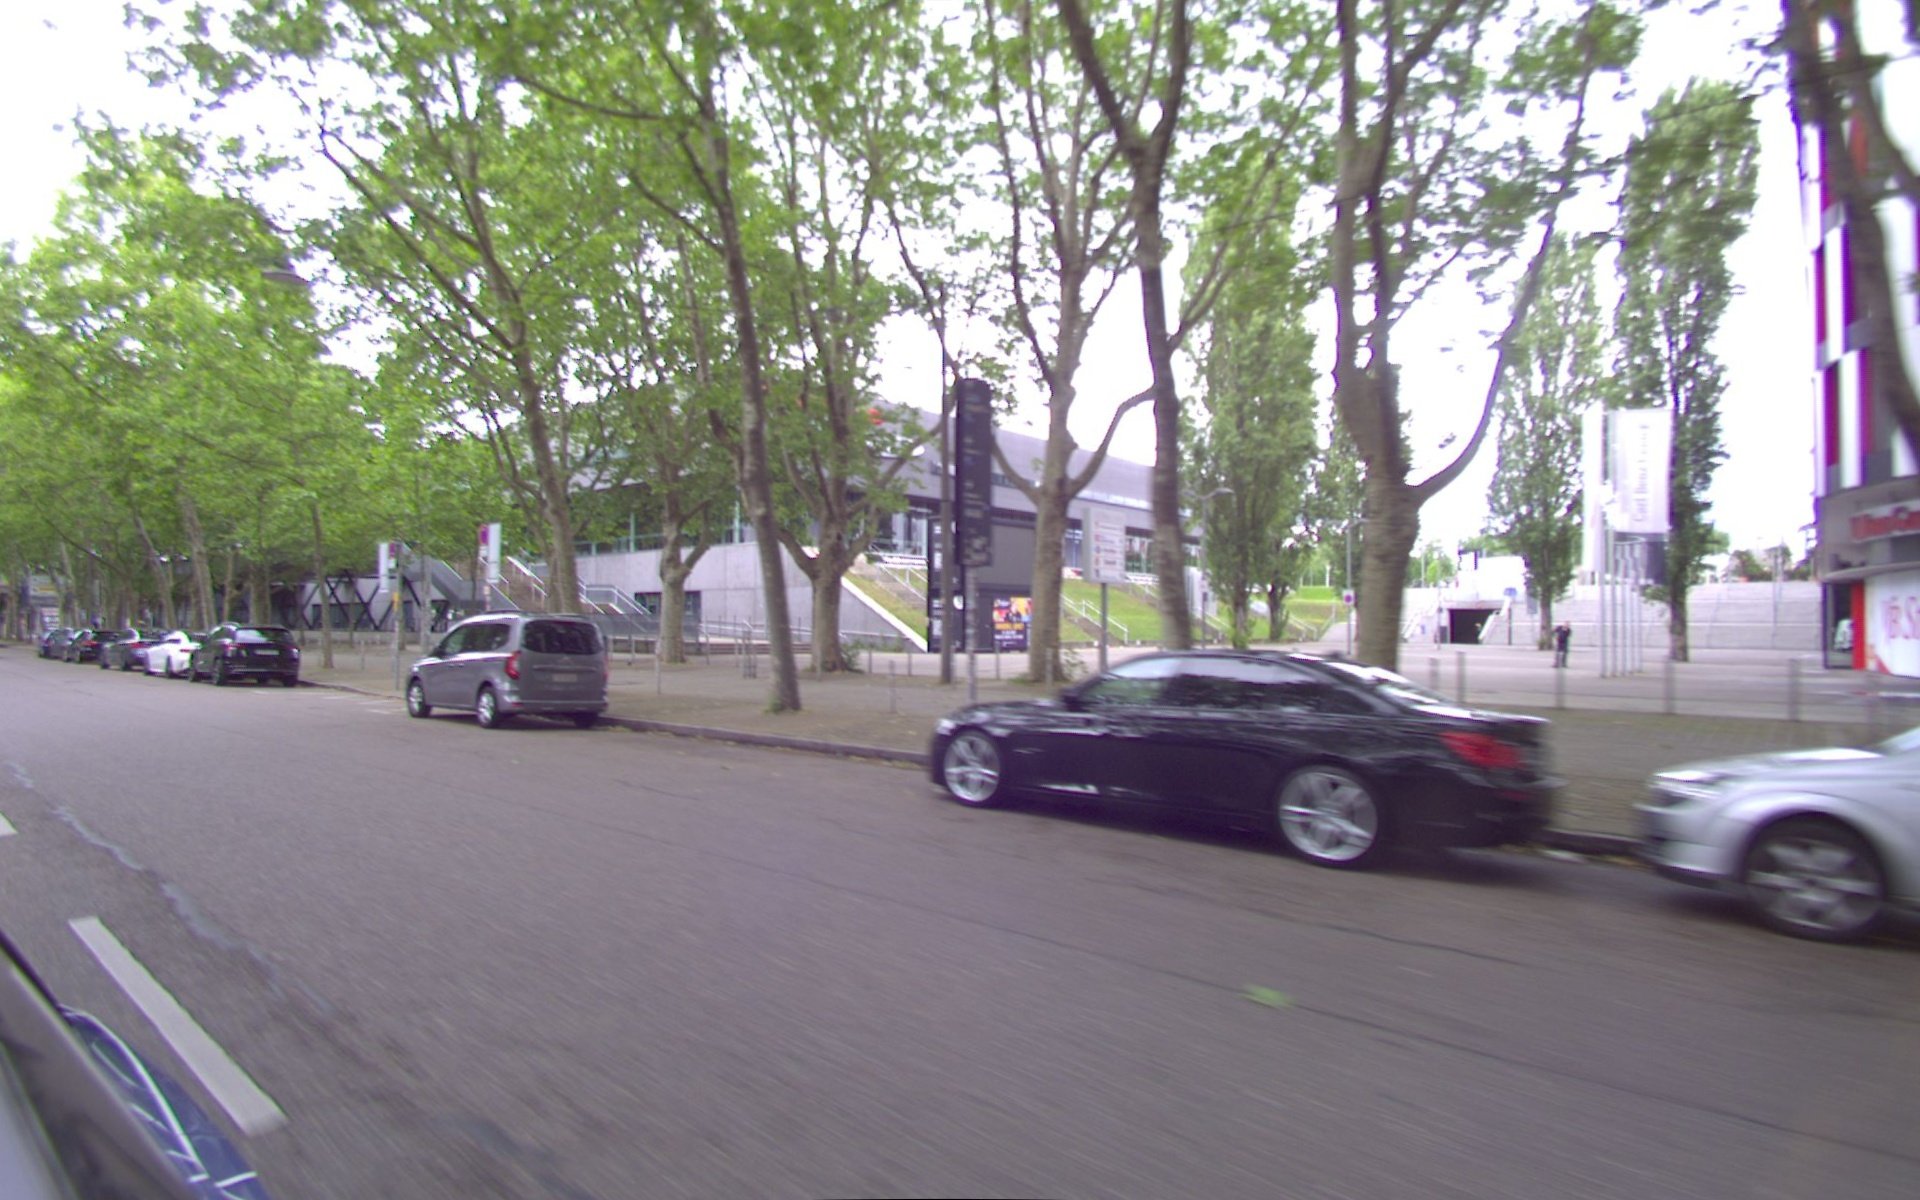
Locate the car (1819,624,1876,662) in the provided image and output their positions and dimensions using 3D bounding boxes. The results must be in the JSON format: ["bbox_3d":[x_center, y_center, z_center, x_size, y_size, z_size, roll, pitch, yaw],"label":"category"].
[{"bbox_3d":[52.629,2.541,60.095,2.310,2.029,5.112,-7,-6,40],"label":"car"}]

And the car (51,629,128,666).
[{"bbox_3d":[-36.124,1.952,41.968,4.328,1.392,1.690,-1,-6,41],"label":"car"}]

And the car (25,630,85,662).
[{"bbox_3d":[-43.351,2.192,48.447,4.000,1.372,1.675,-2,-7,43],"label":"car"}]

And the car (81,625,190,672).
[{"bbox_3d":[-28.390,1.647,34.790,4.987,1.496,1.802,-1,-3,38],"label":"car"}]

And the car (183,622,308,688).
[{"bbox_3d":[-19.069,1.437,26.936,4.345,1.606,1.798,-1,-5,43],"label":"car"}]

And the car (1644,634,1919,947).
[{"bbox_3d":[5.915,0.952,4.815,4.228,1.467,1.814,-1,-5,41],"label":"car"}]

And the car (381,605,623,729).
[{"bbox_3d":[-7.807,1.076,17.060,4.610,1.809,1.876,-1,-5,41],"label":"car"}]

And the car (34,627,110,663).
[{"bbox_3d":[-39.796,2.022,45.337,3.643,1.489,1.679,-1,-5,36],"label":"car"}]

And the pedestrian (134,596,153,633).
[{"bbox_3d":[-41.095,0.740,50.955,0.825,1.854,0.502,-1,-2,35],"label":"pedestrian"}]

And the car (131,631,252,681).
[{"bbox_3d":[-23.162,1.658,30.425,5.001,1.373,1.797,-1,-4,40],"label":"car"}]

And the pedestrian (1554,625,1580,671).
[{"bbox_3d":[22.720,1.793,37.900,0.693,1.703,0.636,-1,-2,43],"label":"pedestrian"}]

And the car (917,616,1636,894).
[{"bbox_3d":[2.203,0.967,8.154,5.144,1.542,2.061,-2,-4,43],"label":"car"}]
